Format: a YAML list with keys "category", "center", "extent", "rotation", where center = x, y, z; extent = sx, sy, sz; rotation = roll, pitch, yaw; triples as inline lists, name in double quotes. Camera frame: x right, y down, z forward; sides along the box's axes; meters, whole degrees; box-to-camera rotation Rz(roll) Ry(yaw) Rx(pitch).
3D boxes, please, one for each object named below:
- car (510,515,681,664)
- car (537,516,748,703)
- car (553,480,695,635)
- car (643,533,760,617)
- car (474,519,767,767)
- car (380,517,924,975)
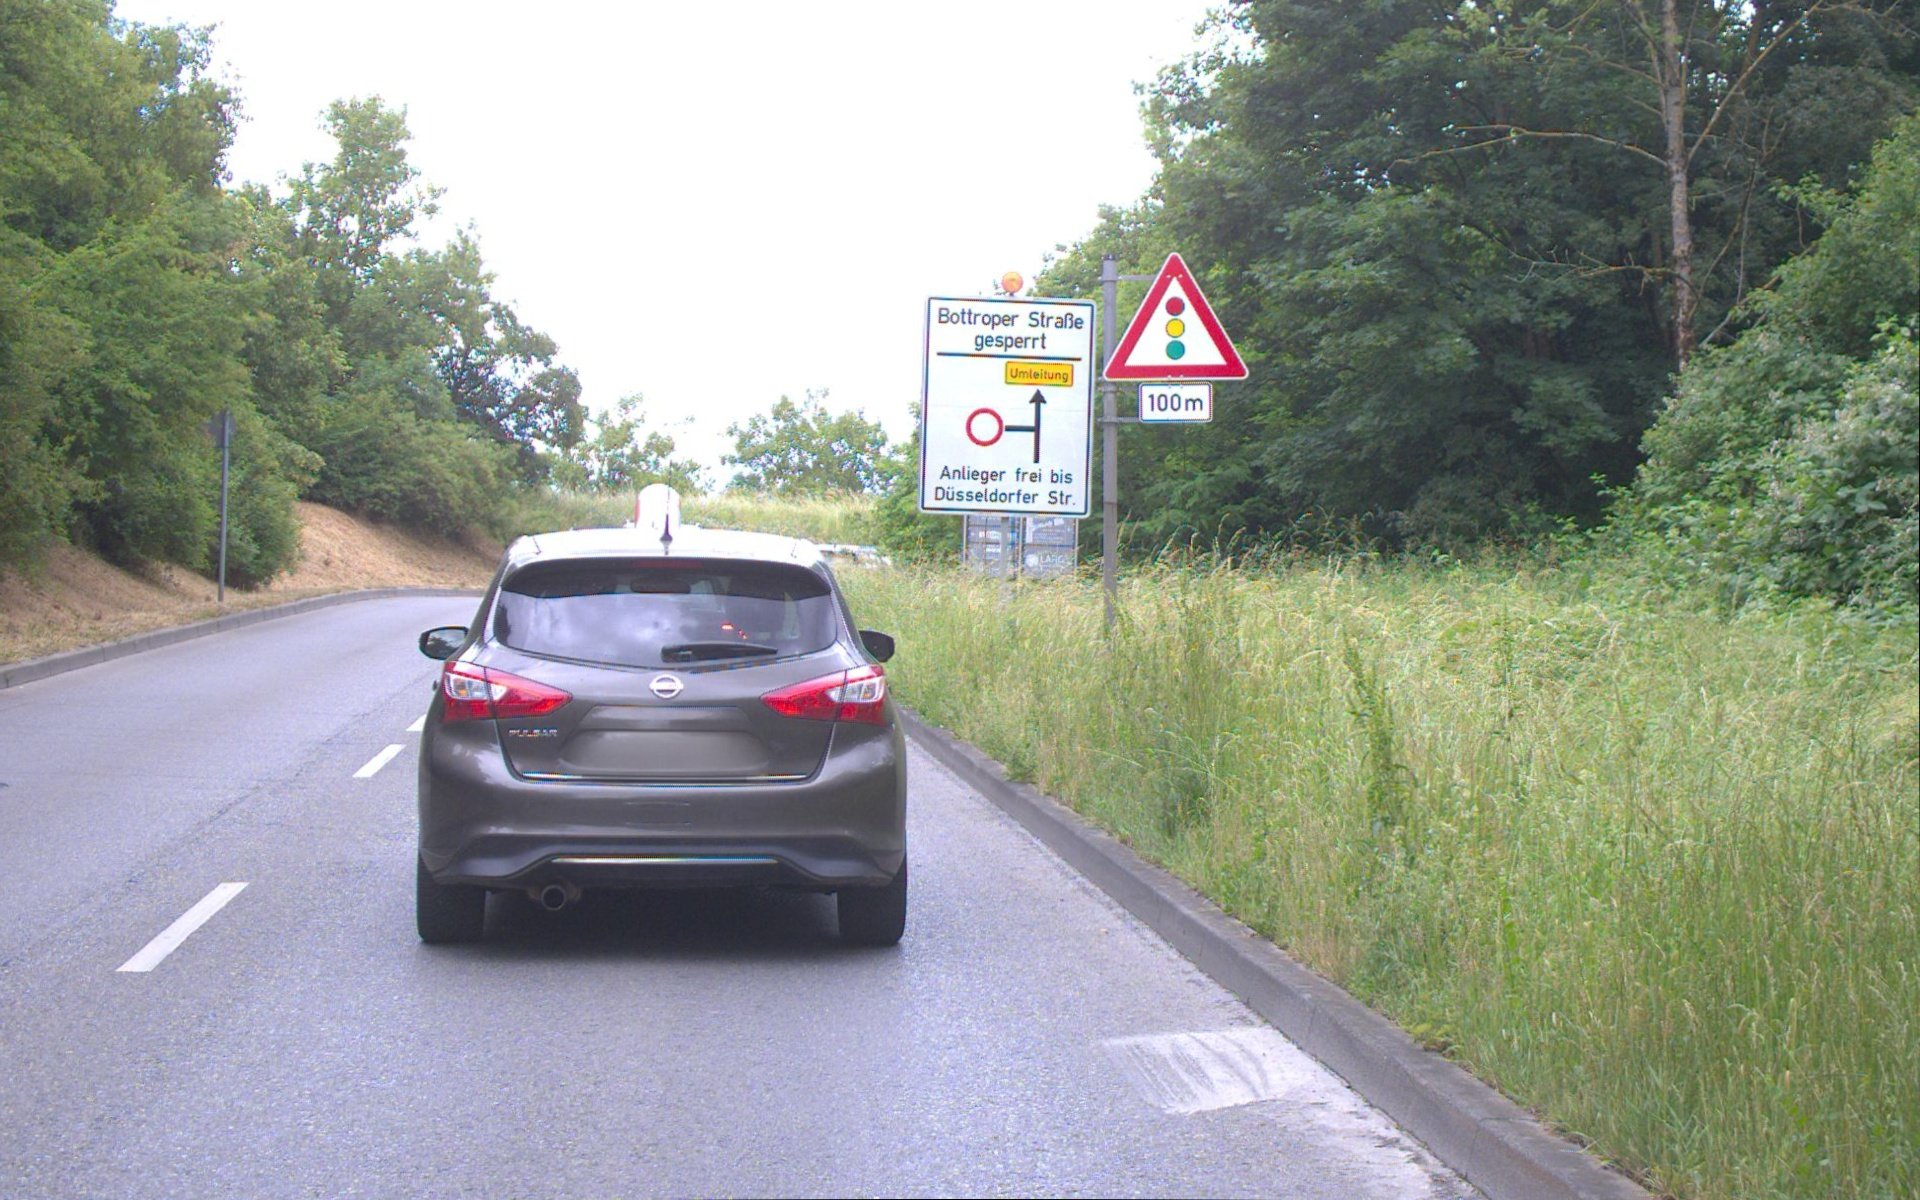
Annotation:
- category: "car"
  center: [-3.935, -0.153, 37.563]
  extent: [1.735, 1.551, 3.544]
  rotation: [0, 1, -4]
- category: "car"
  center: [-2.765, 0.039, 30.340]
  extent: [1.735, 1.551, 3.544]
  rotation: [0, 1, -4]
- category: "car"
  center: [-4.338, -0.574, 44.805]
  extent: [1.735, 1.928, 3.544]
  rotation: [0, 1, -4]
- category: "car"
  center: [-4.812, -0.487, 64.303]
  extent: [1.736, 1.521, 3.641]
  rotation: [0, 1, 3]
- category: "car"
  center: [-2.265, 0.227, 23.445]
  extent: [1.830, 1.551, 3.625]
  rotation: [0, 1, -4]
- category: "car"
  center: [-1.191, 0.463, 13.463]
  extent: [1.830, 1.551, 3.500]
  rotation: [1, 1, -5]
